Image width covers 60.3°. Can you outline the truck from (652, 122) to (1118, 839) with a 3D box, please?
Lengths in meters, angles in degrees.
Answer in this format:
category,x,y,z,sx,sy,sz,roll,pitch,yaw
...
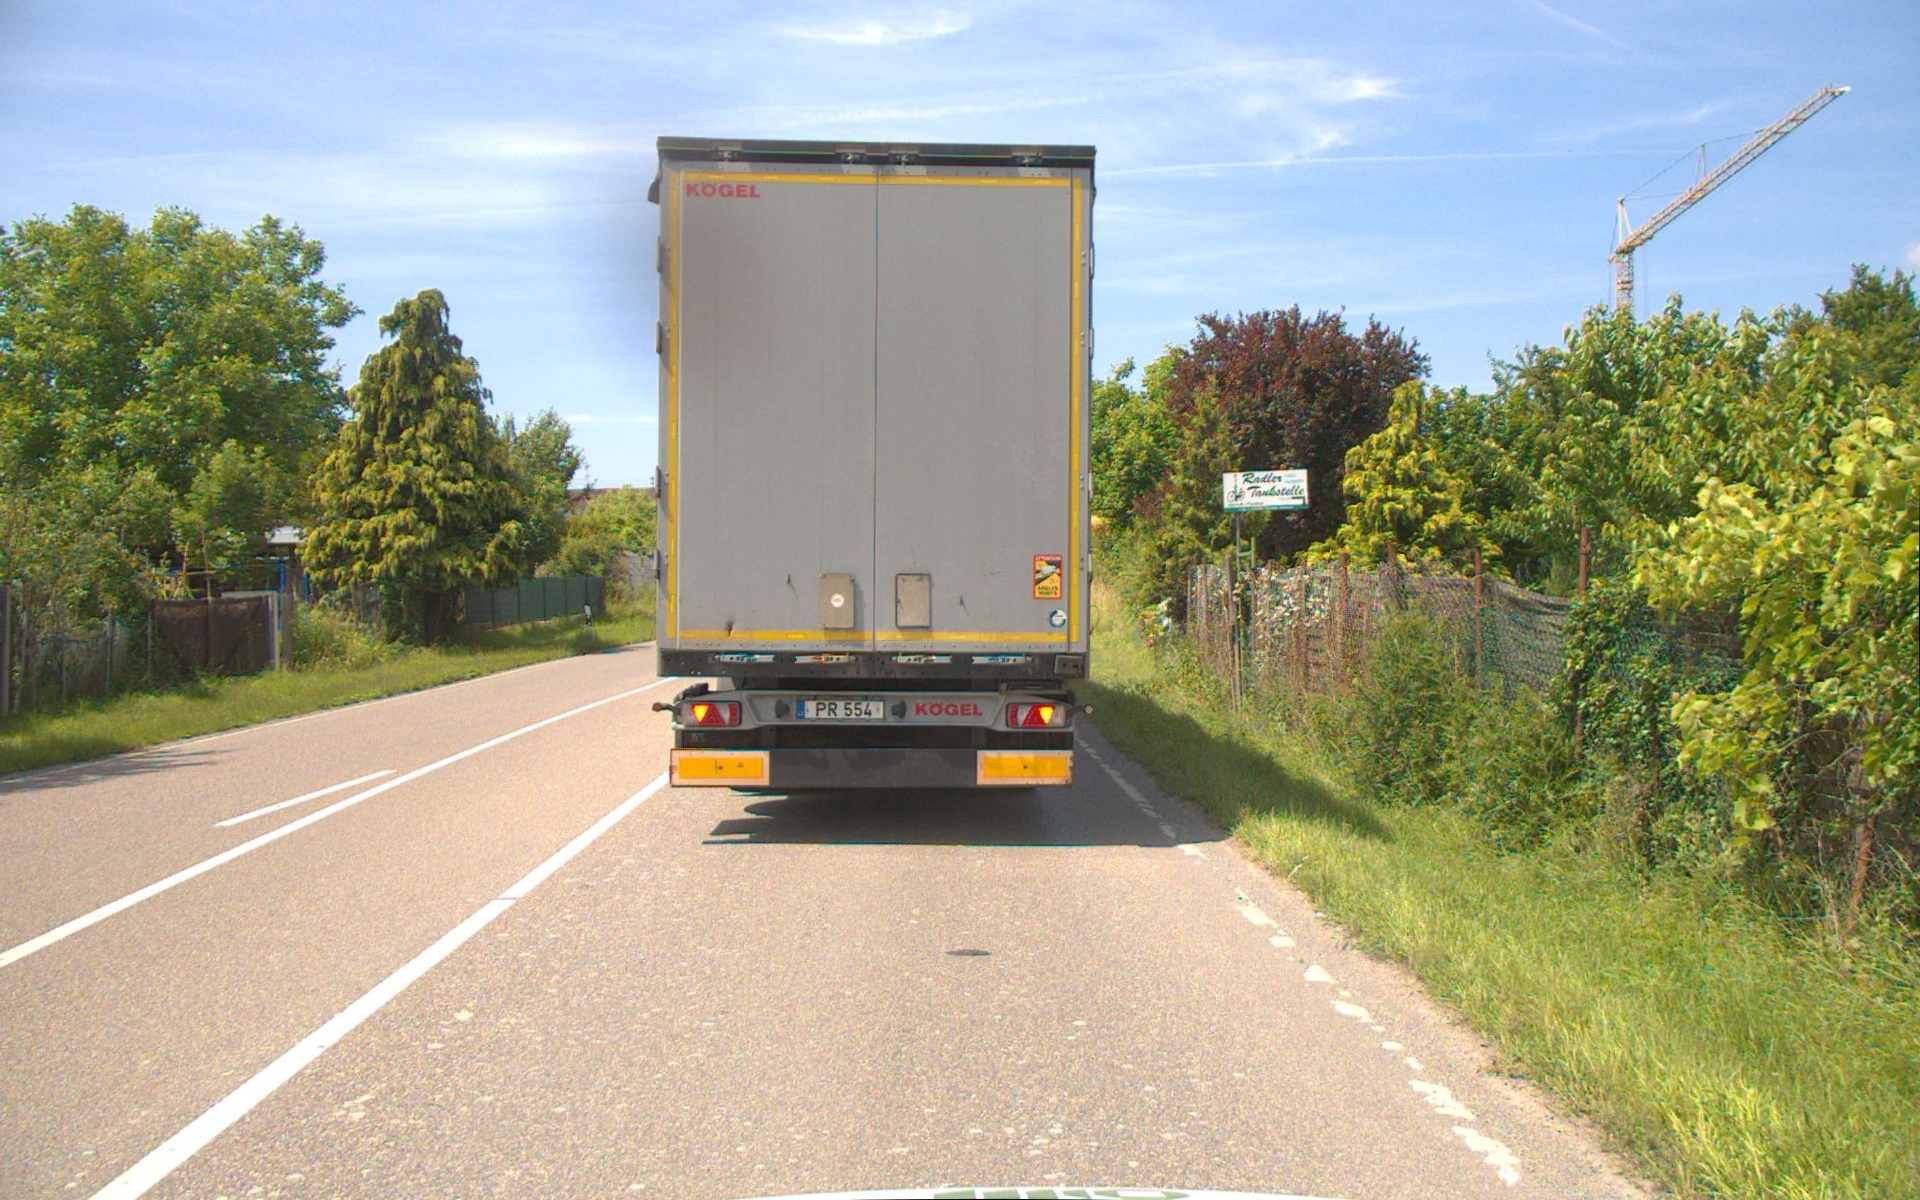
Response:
category,x,y,z,sx,sy,sz,roll,pitch,yaw
truck,-0.631,-0.704,13.691,2.594,3.985,8.820,0,1,-3
